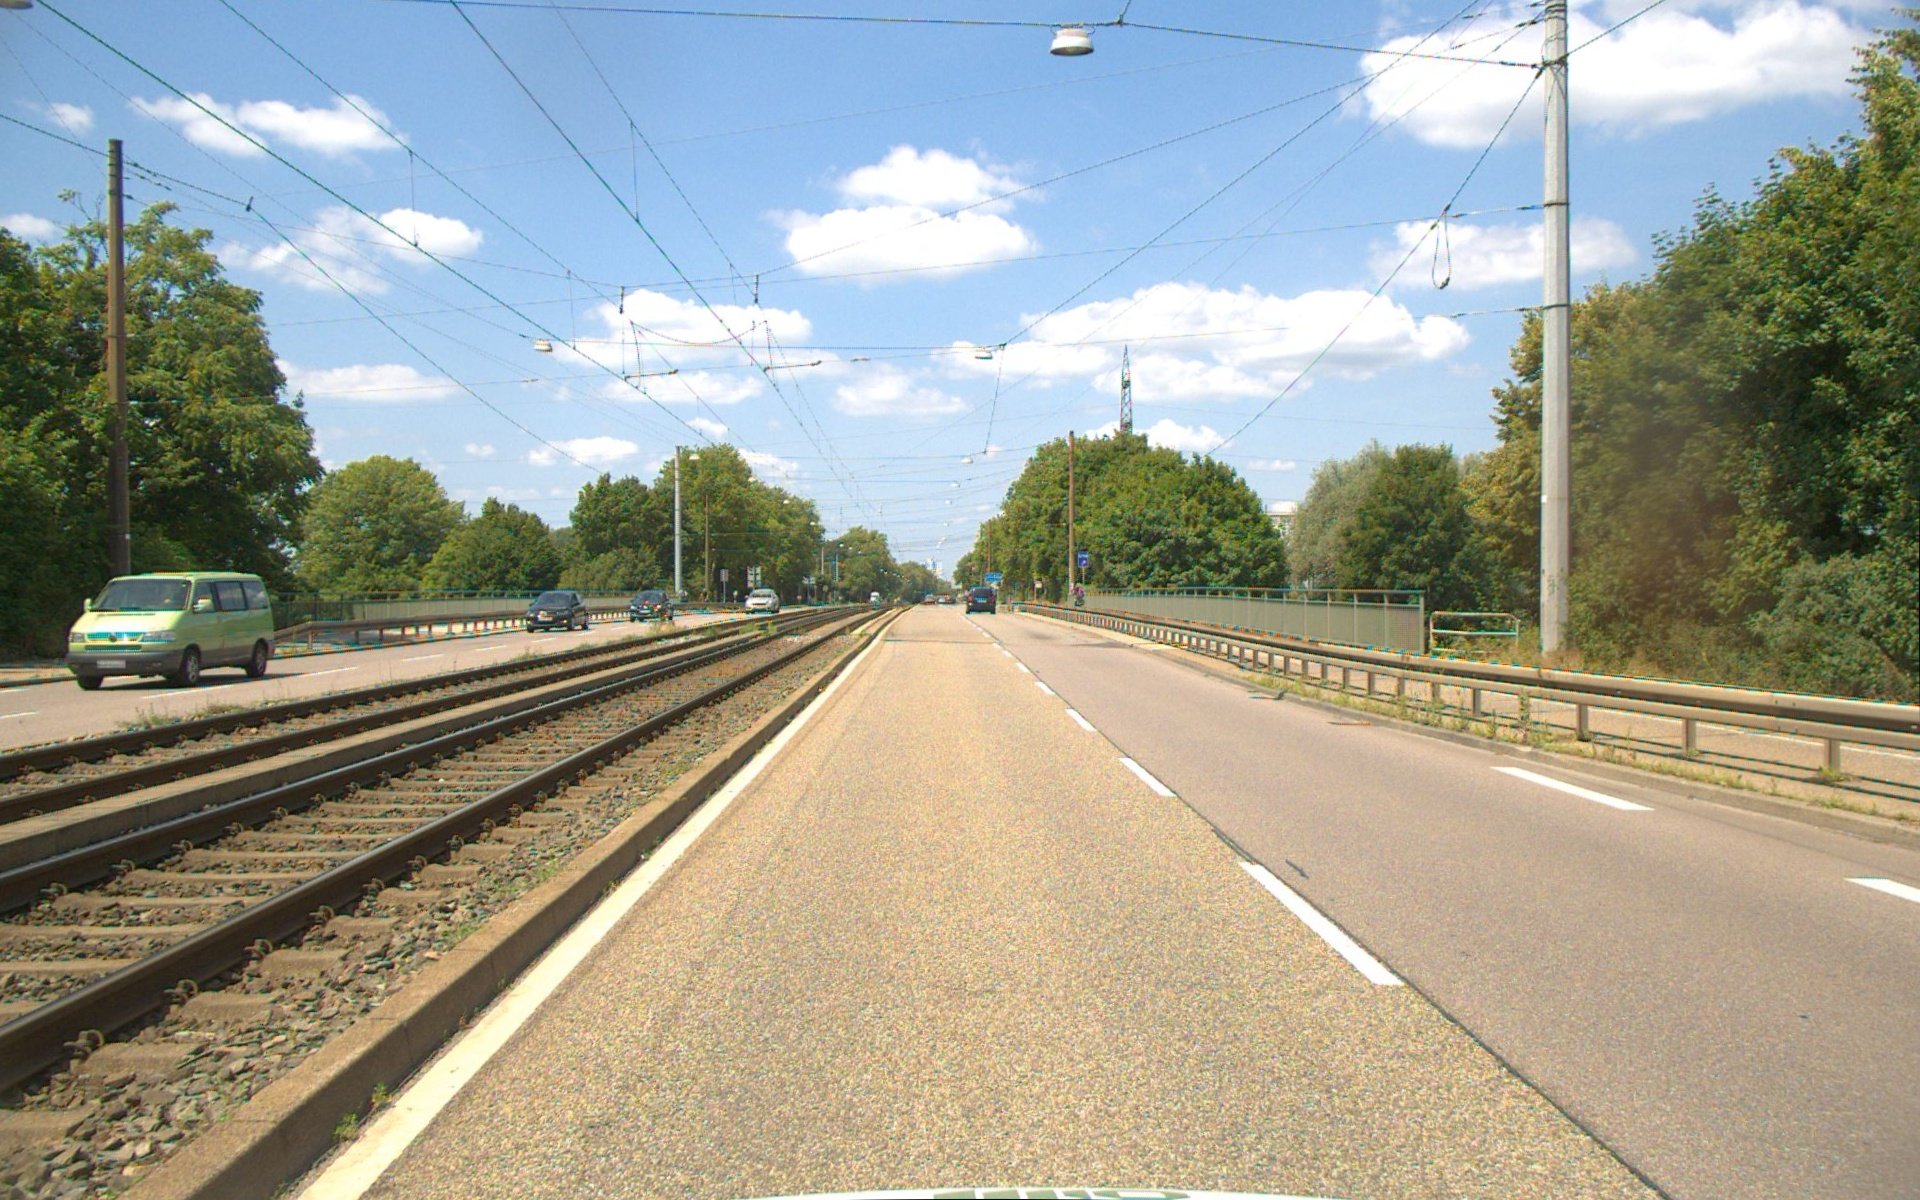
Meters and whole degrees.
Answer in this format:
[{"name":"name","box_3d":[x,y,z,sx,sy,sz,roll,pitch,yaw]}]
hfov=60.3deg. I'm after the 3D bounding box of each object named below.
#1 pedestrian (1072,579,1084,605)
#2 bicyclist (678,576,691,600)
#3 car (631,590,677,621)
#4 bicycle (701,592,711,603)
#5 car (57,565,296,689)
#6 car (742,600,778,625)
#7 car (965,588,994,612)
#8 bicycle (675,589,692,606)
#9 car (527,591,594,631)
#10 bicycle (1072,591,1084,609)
[{"name":"pedestrian","box_3d":[6.585,-0.446,92.354,0.615,1.398,1.050,-1,0,-1]},{"name":"bicyclist","box_3d":[-19.524,-0.860,117.237,0.747,1.650,0.838,1,0,-2]},{"name":"car","box_3d":[-14.666,0.246,79.310,1.542,1.424,3.937,-1,0,-1]},{"name":"bicycle","box_3d":[-19.806,-0.208,128.961,0.512,0.858,2.035,2,1,-3]},{"name":"car","box_3d":[-13.611,0.428,29.124,1.774,1.959,5.178,-1,0,-1]},{"name":"car","box_3d":[-12.163,0.753,100.648,1.676,1.445,4.623,-1,0,-1]},{"name":"car","box_3d":[1.149,-0.019,99.032,1.554,1.366,3.271,-1,1,-3]},{"name":"bicycle","box_3d":[-19.565,-0.161,117.110,0.839,1.206,2.061,1,0,-2]},{"name":"car","box_3d":[-14.539,0.387,60.341,1.531,1.371,3.928,-1,0,-1]},{"name":"bicycle","box_3d":[6.588,0.005,92.357,0.548,1.042,1.847,-1,0,-1]}]
